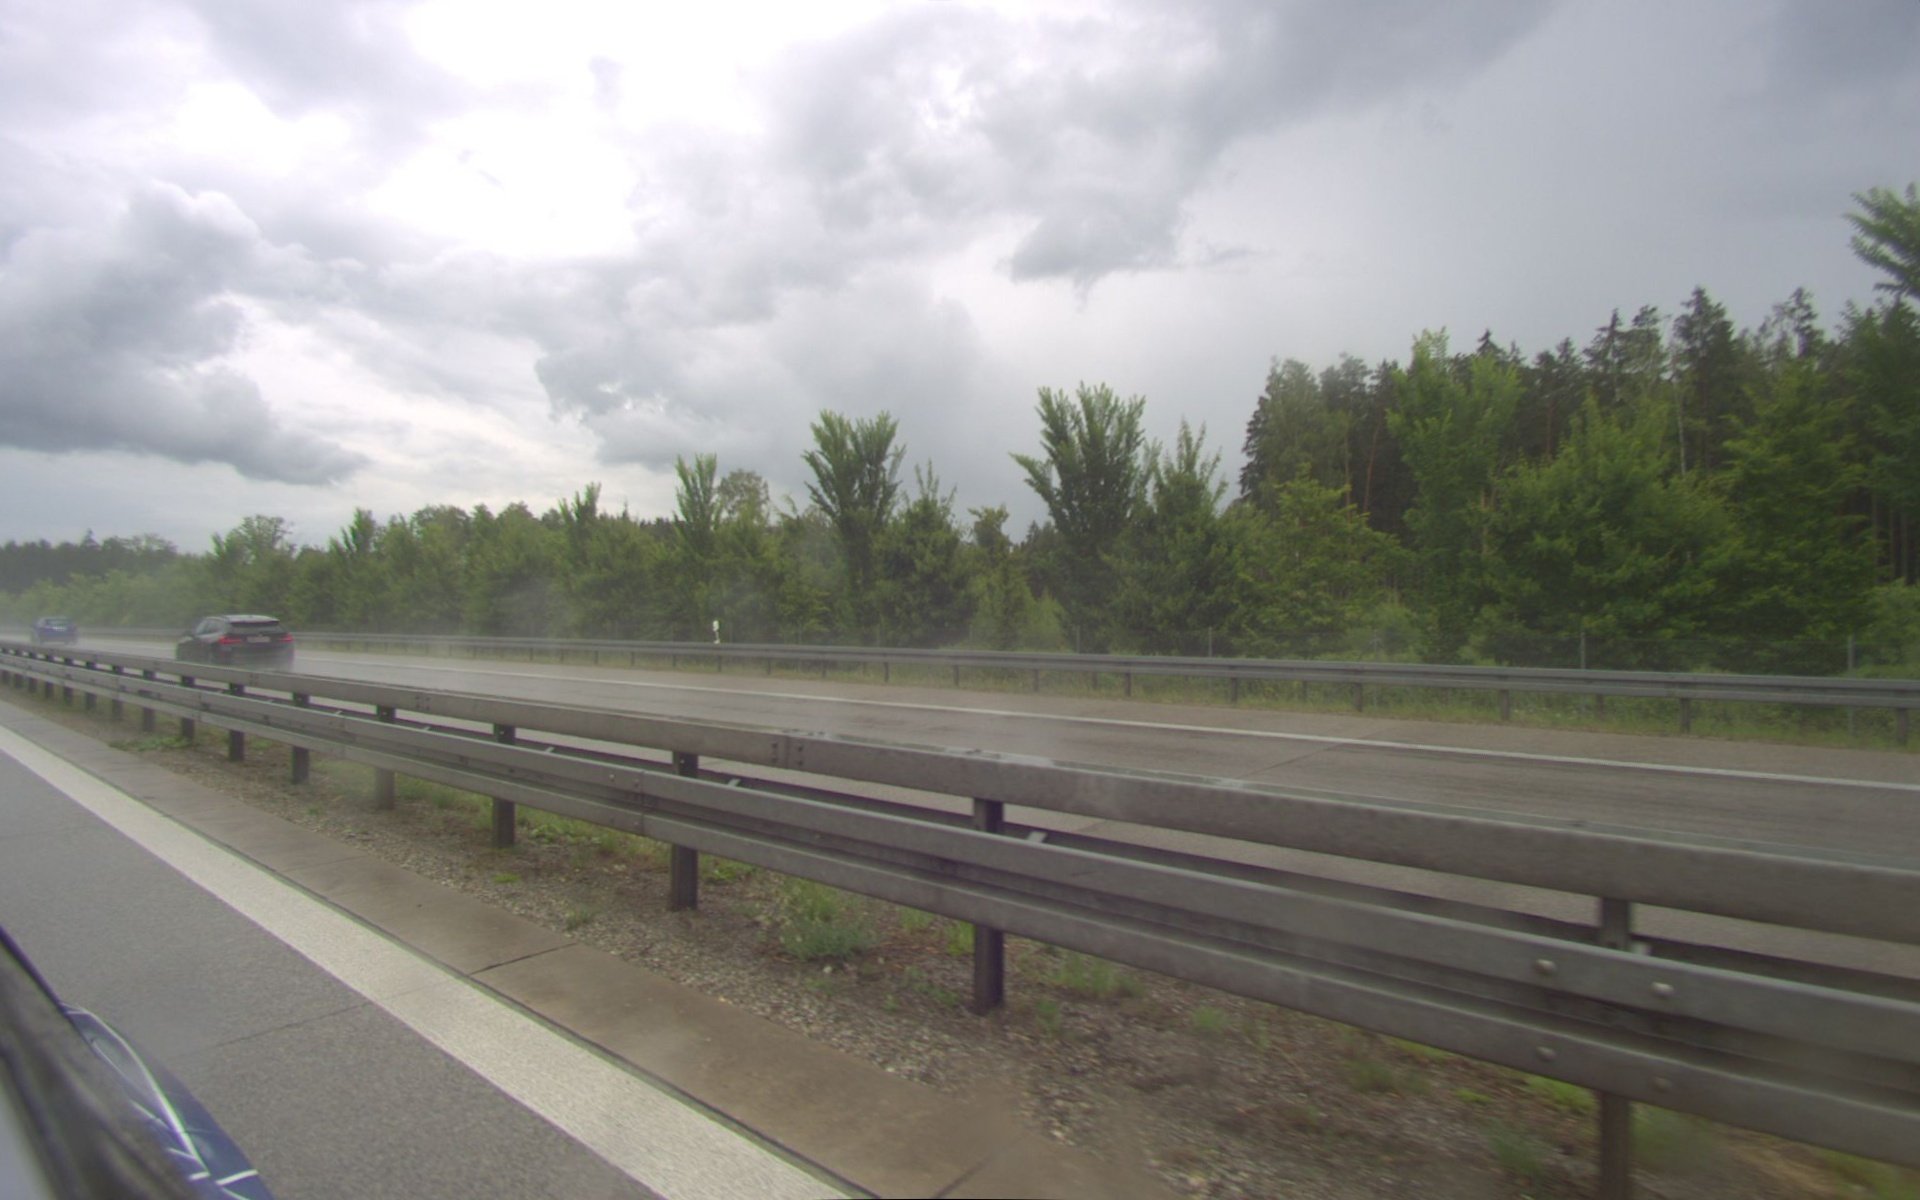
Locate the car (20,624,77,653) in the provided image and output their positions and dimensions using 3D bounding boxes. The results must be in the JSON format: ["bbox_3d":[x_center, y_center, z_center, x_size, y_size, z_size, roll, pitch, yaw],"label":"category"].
[{"bbox_3d":[-53.311,2.220,59.143,4.217,1.510,1.883,0,0,40],"label":"car"}]

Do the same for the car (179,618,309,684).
[{"bbox_3d":[-19.161,1.362,27.052,3.995,1.632,1.776,-2,-4,39],"label":"car"}]
